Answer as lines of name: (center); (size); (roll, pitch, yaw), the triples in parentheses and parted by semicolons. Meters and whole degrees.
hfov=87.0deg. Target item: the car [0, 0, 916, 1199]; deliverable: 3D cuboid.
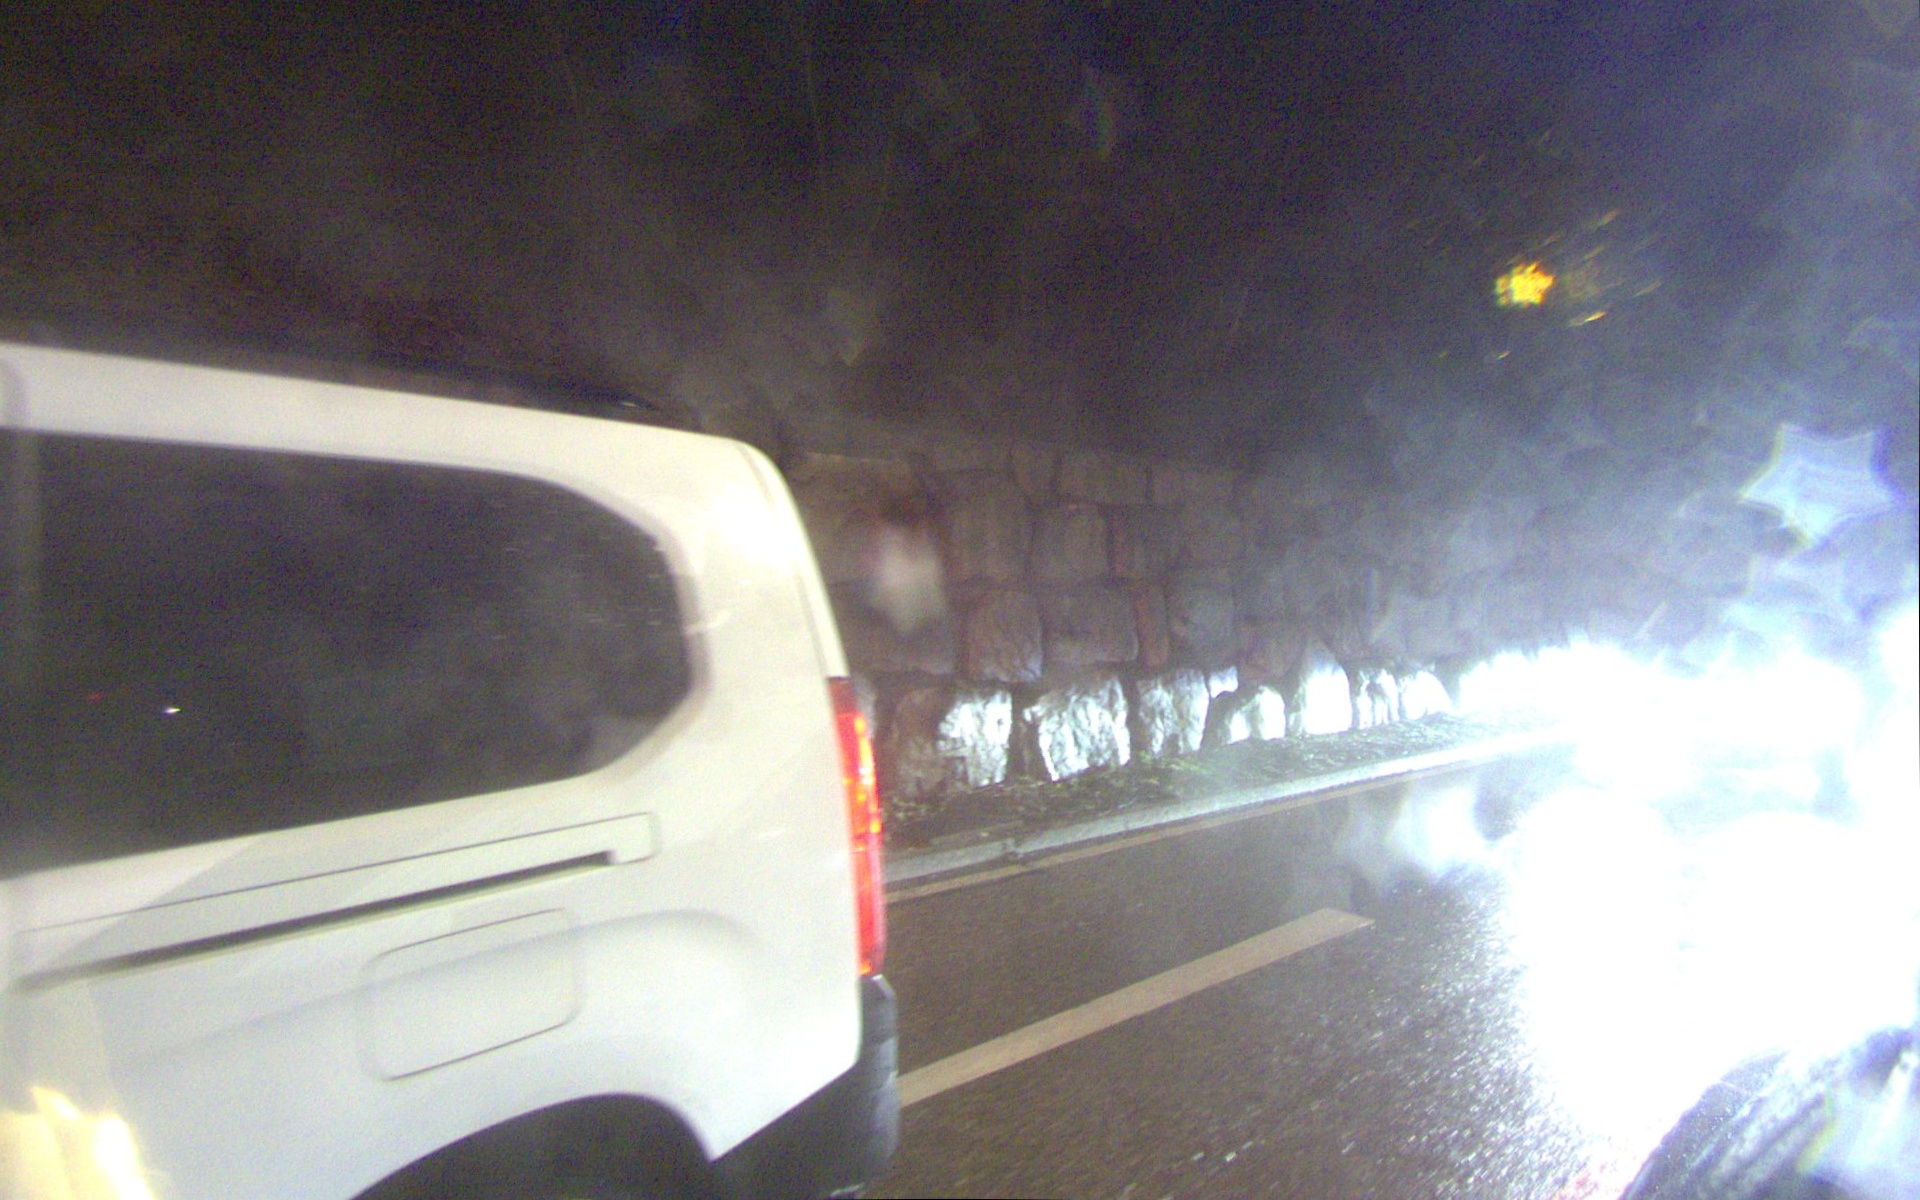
car: (-2.326, 0.406, 0.967); (4.502, 2.047, 1.793); (0, 0, -43)

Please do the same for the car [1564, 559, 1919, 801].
car: (7.296, 0.557, 9.193); (4.142, 1.715, 1.790); (0, 0, -39)

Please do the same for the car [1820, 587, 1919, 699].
car: (15.763, 0.631, 16.664); (4.358, 1.669, 1.787); (0, 0, -41)
